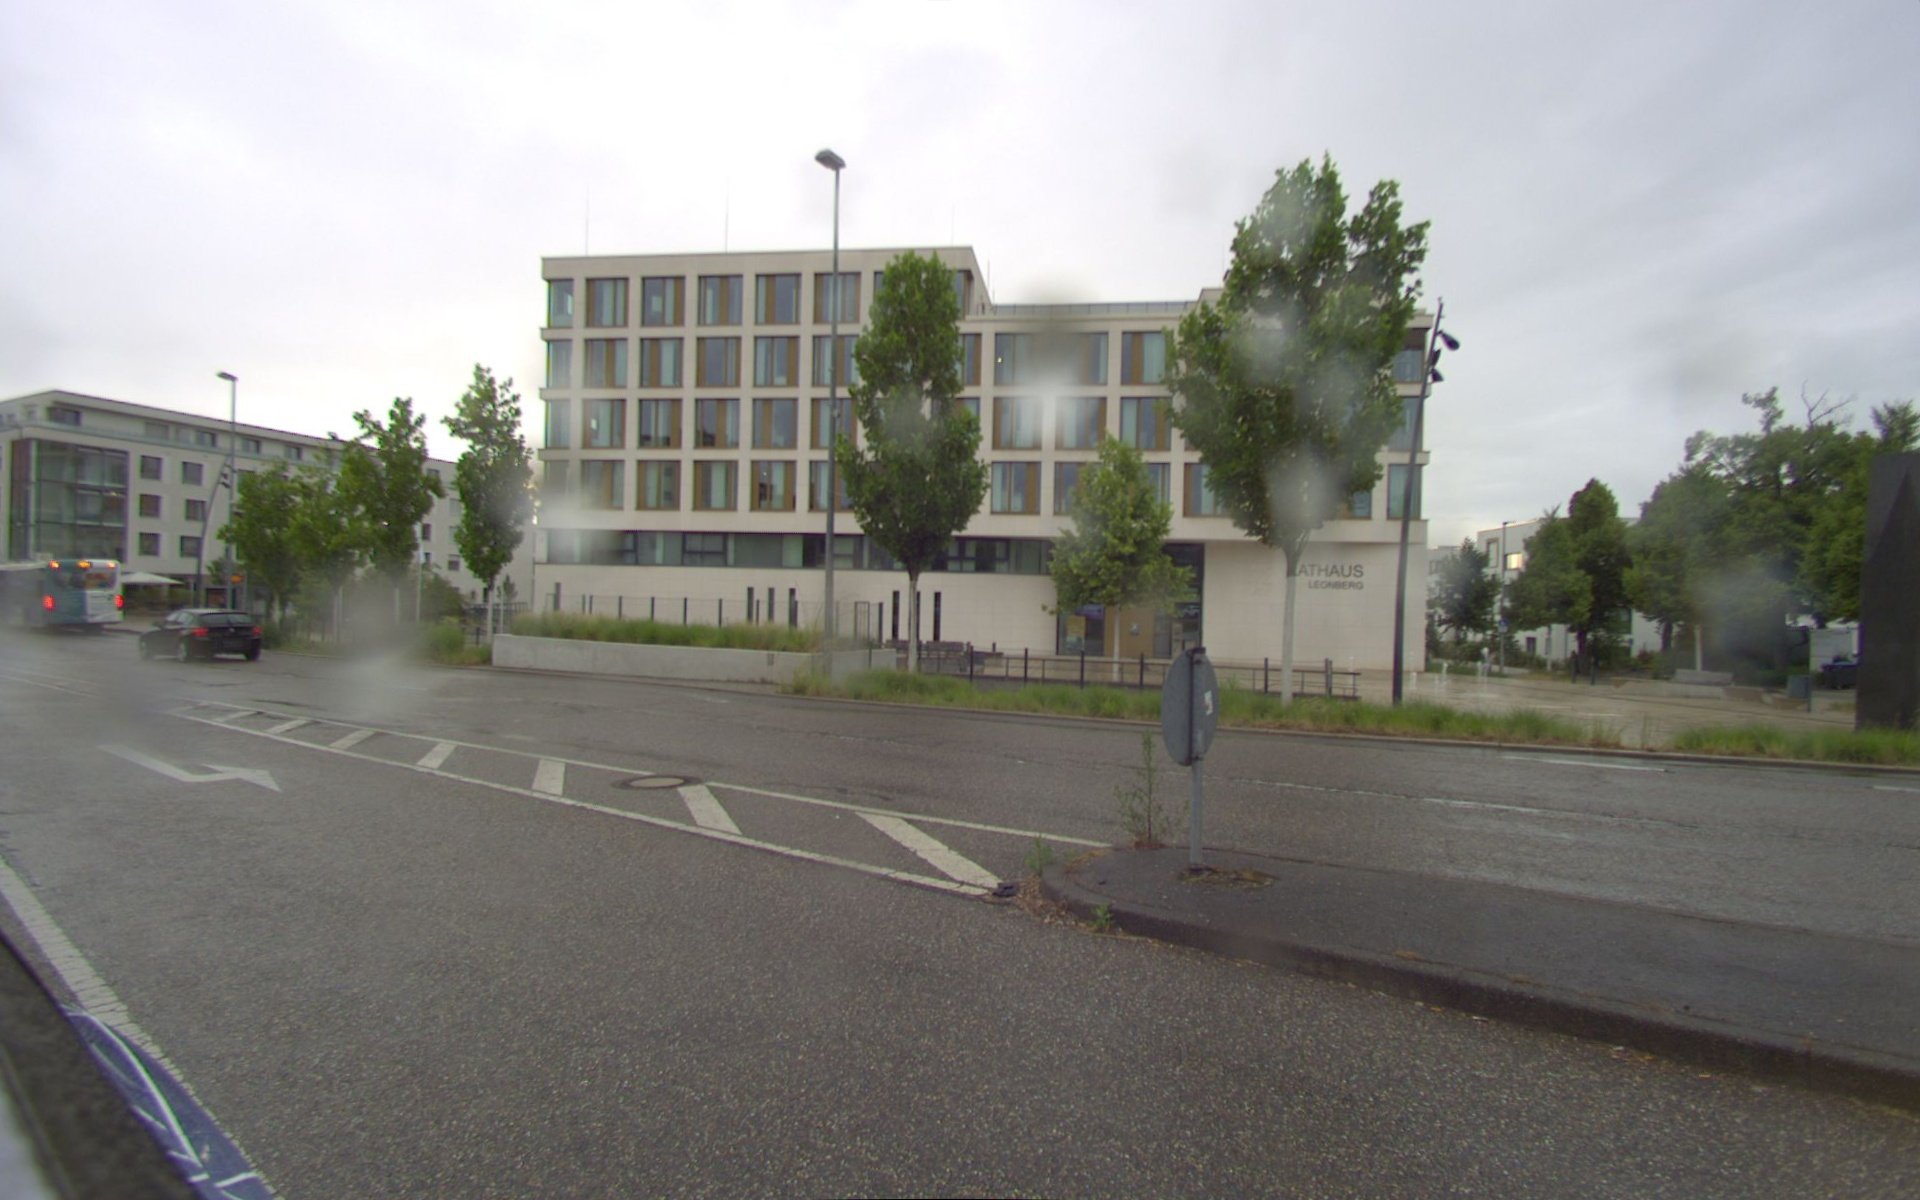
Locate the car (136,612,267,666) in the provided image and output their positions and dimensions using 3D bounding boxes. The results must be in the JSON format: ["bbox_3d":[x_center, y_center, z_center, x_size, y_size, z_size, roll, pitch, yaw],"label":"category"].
[{"bbox_3d":[-20.990,1.042,27.948,4.273,1.401,1.769,-1,-1,37],"label":"car"}]

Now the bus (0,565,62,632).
[{"bbox_3d":[-48.193,-0.004,50.720,8.864,3.138,2.767,0,-2,35],"label":"bus"}]

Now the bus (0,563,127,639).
[{"bbox_3d":[-40.745,0.097,45.500,9.348,3.138,2.752,0,-2,36],"label":"bus"}]
